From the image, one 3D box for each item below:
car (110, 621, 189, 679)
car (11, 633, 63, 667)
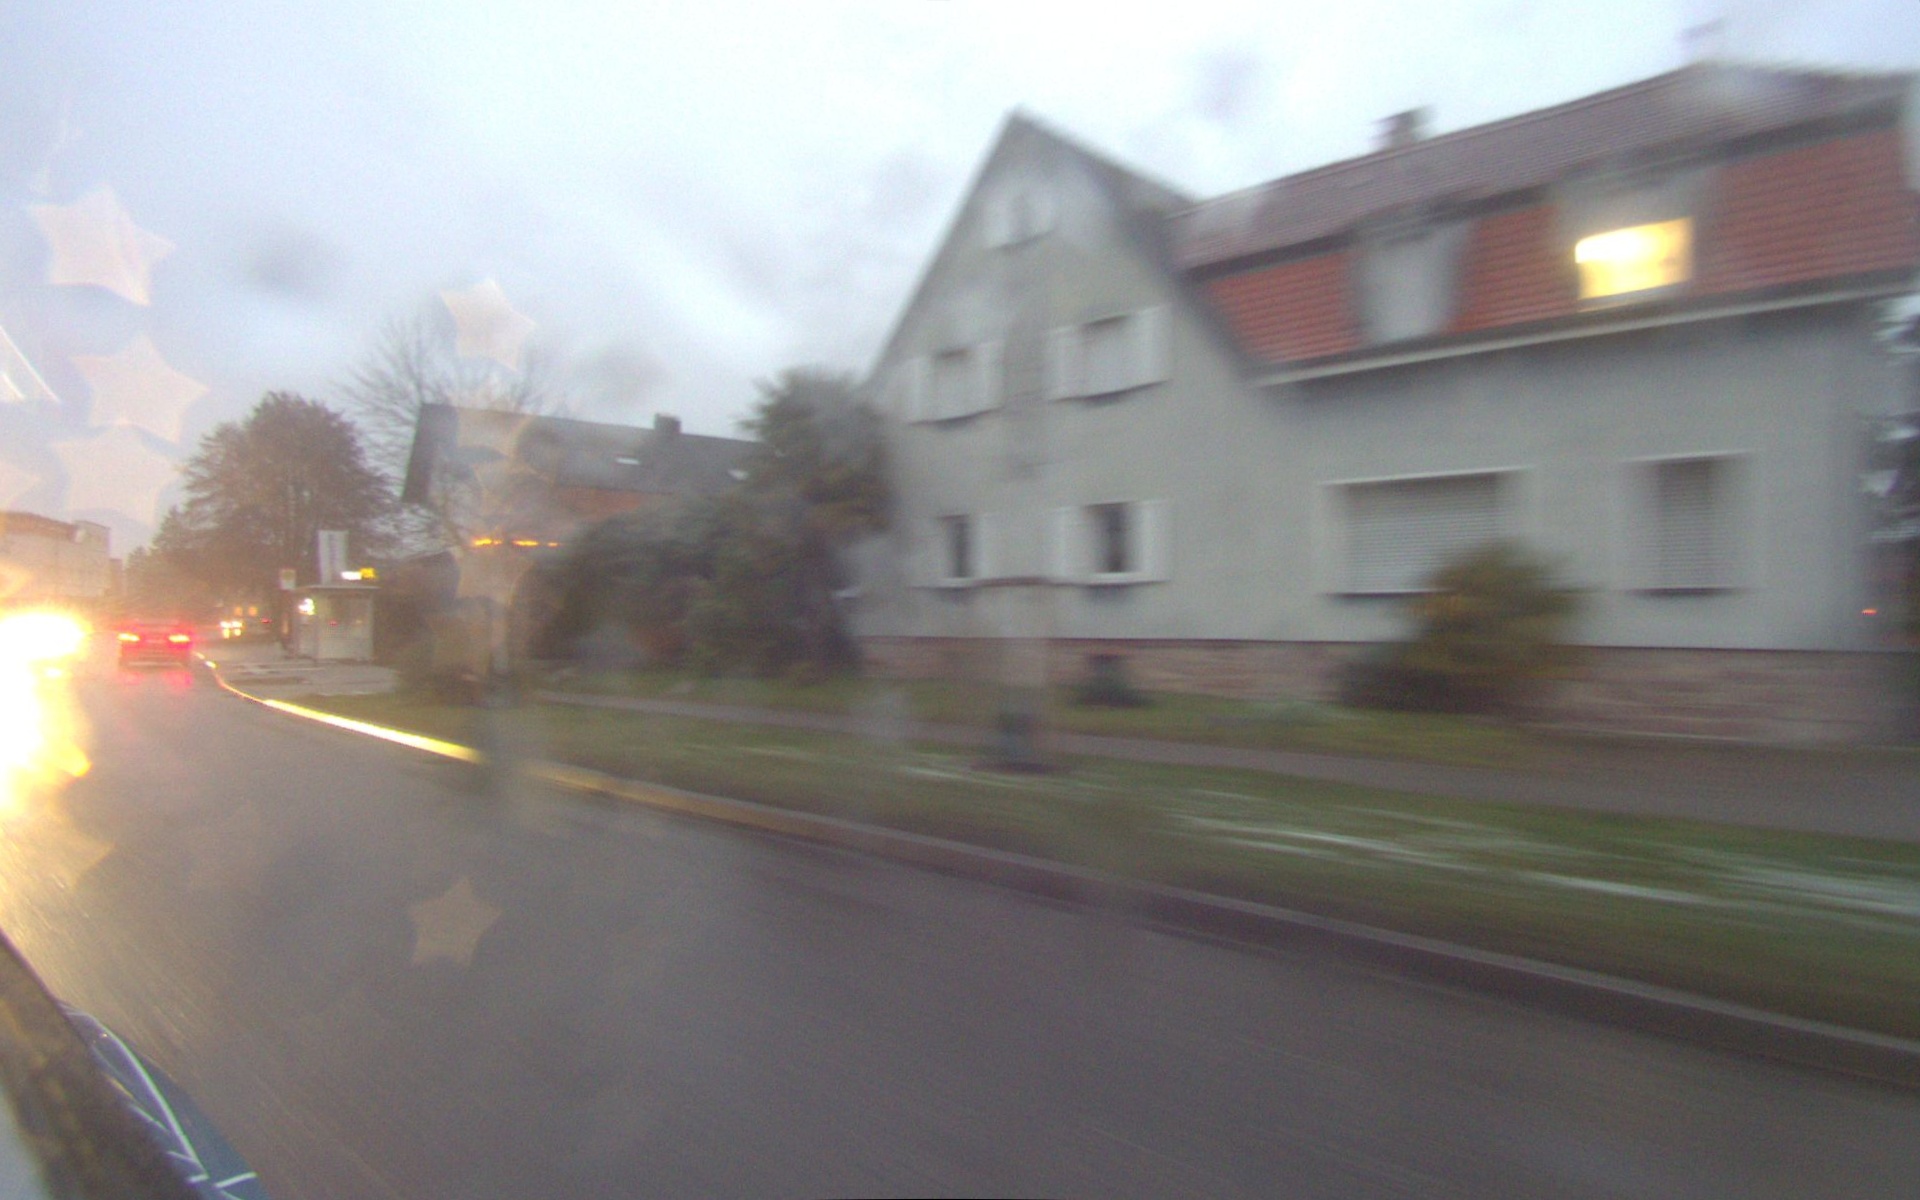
[{"bbox_3d":[-26.776,1.580,33.388,1.938,1.711,4.006,-1,0,-40],"label":"car"},{"bbox_3d":[-48.532,2.591,53.273,1.748,1.630,3.880,-1,0,-38],"label":"car"}]
